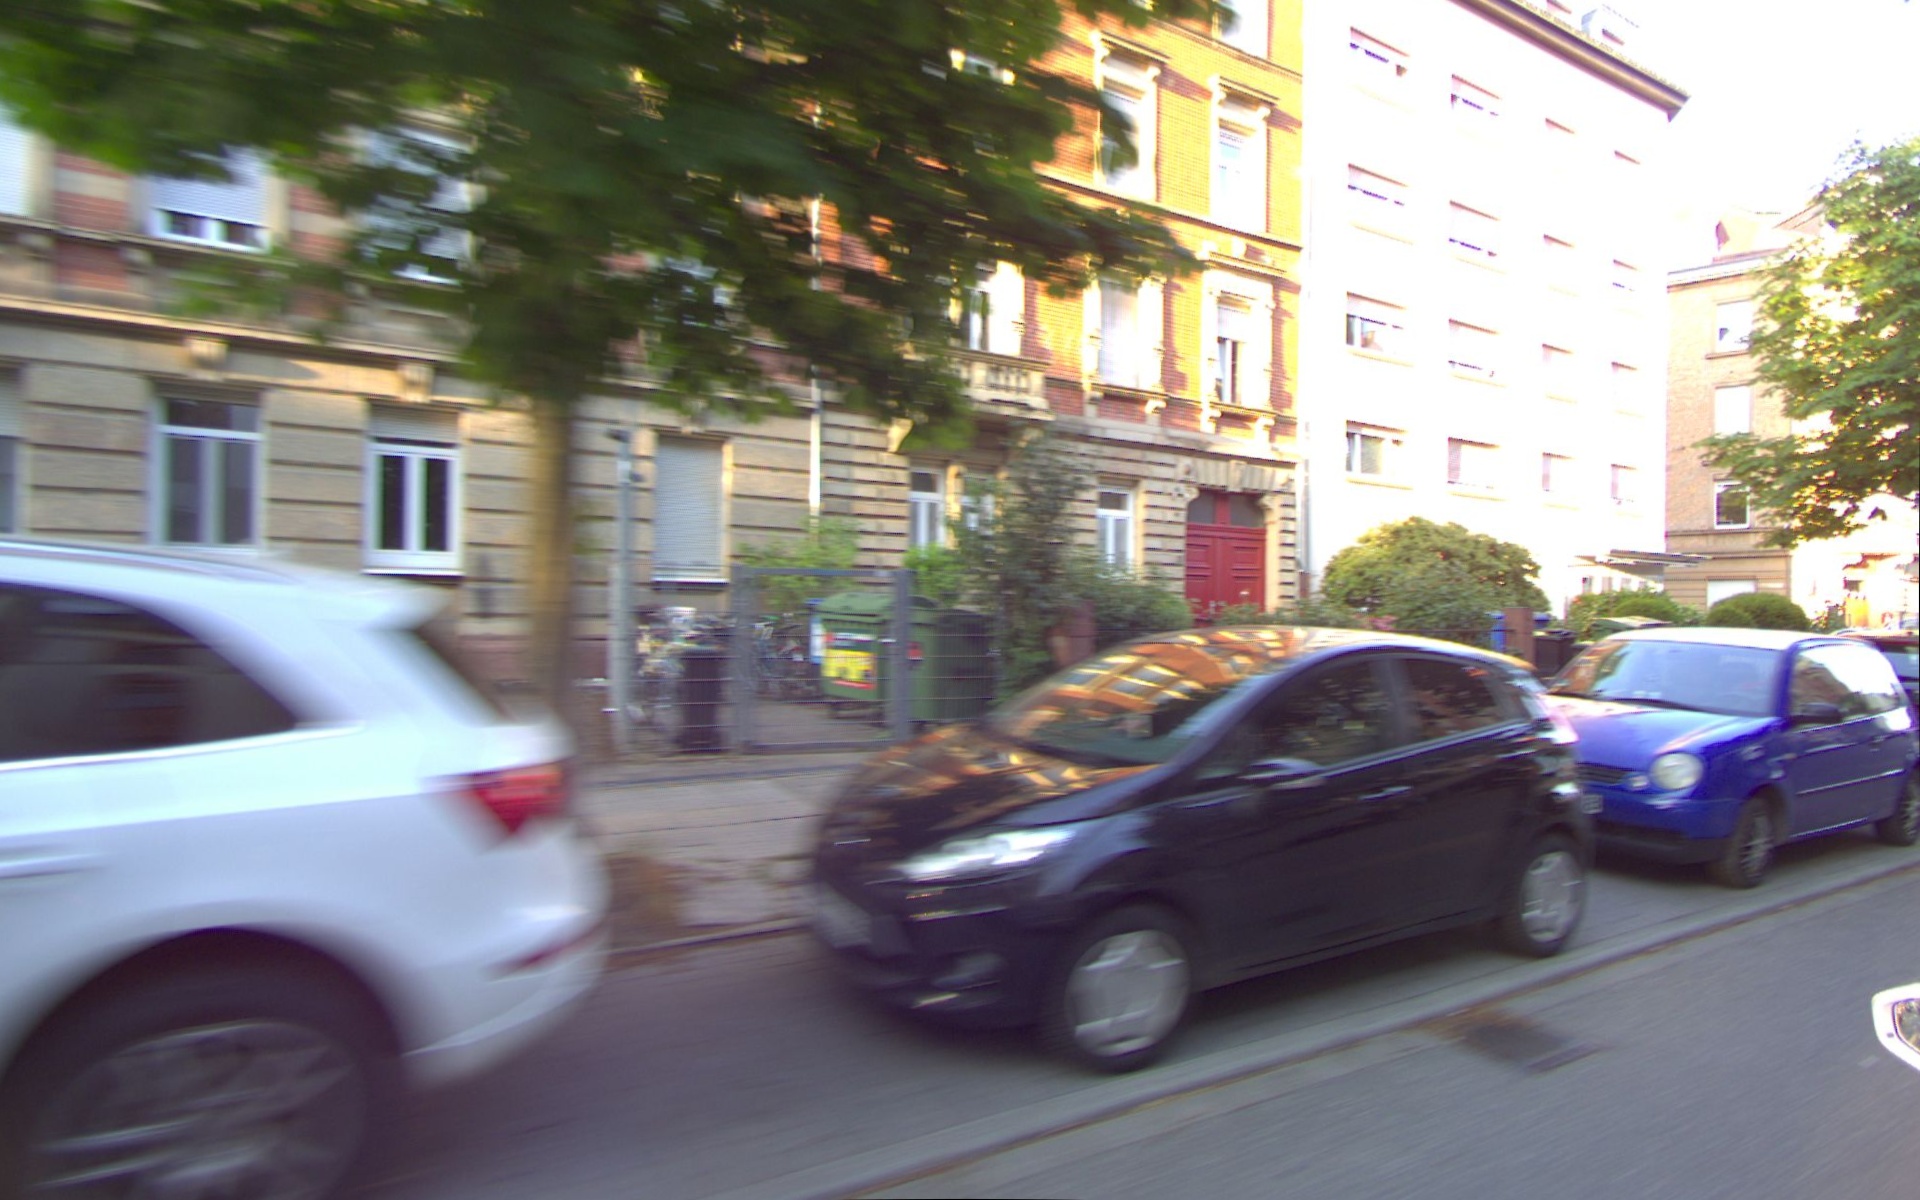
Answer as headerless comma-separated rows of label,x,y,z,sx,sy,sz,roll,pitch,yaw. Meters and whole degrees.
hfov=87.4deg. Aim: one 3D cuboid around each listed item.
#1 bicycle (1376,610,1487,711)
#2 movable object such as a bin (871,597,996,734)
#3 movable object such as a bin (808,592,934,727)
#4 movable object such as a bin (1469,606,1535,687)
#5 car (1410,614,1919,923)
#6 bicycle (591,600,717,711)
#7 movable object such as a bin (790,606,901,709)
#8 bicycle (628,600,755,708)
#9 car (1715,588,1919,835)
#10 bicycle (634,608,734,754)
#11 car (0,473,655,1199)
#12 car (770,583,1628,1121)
bicycle,5.899,0.733,12.538,1.599,1.201,0.432,1,0,-30
movable object such as a bin,-0.297,0.650,10.633,0.991,1.339,1.009,0,2,-25
movable object such as a bin,-1.036,0.644,11.628,0.998,1.433,1.086,-1,2,-44
movable object such as a bin,9.659,0.811,17.910,0.695,1.381,0.733,1,2,-23
car,5.038,0.901,6.915,3.743,1.587,1.707,0,0,-30
bicycle,-3.992,0.655,12.953,0.638,1.208,2.507,-1,3,-40
movable object such as a bin,-1.514,0.719,13.215,0.998,1.225,1.086,-1,2,-44
bicycle,-3.601,0.652,13.296,0.638,1.208,2.507,-1,3,-40
car,8.628,0.838,8.842,4.166,1.814,1.707,0,0,-30
bicycle,-2.887,0.741,10.320,0.634,1.208,2.522,0,2,-23
car,-3.130,0.623,2.263,4.375,1.740,1.912,0,0,-30
car,1.199,0.791,4.659,3.737,1.587,1.707,2,-1,-30
